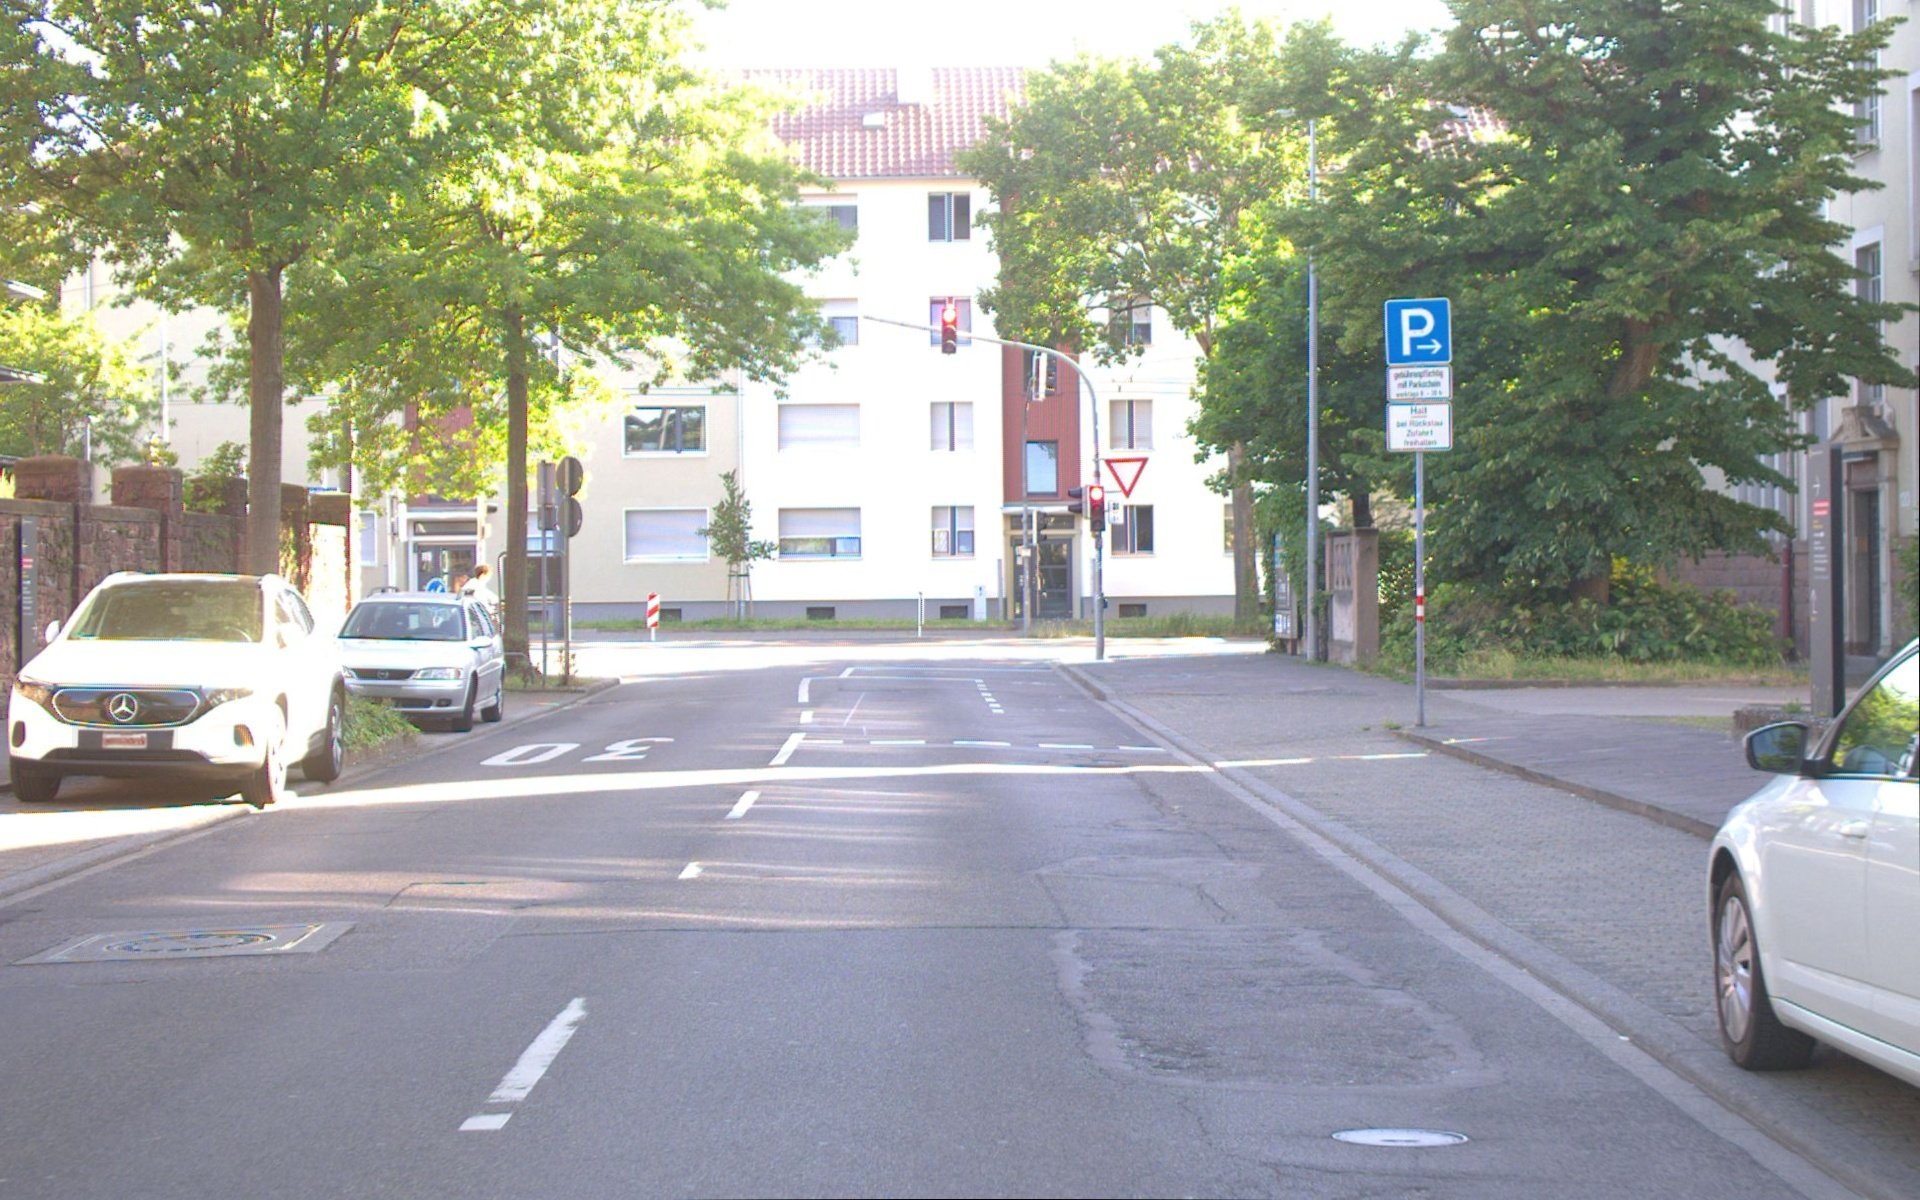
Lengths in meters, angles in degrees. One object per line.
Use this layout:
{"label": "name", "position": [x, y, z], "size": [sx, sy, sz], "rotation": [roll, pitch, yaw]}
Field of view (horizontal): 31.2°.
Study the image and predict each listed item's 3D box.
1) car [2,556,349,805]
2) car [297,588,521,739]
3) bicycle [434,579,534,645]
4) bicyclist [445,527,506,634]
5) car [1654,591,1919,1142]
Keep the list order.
{"label": "car", "position": [-5.685, 0.525, 25.414], "size": [1.720, 1.678, 4.351], "rotation": [0, 0, -2]}
{"label": "car", "position": [-5.856, 0.636, 36.996], "size": [1.726, 1.470, 4.478], "rotation": [2, 0, -1]}
{"label": "bicycle", "position": [-7.883, 0.194, 56.993], "size": [1.684, 1.076, 0.351], "rotation": [0, 1, -38]}
{"label": "bicyclist", "position": [-8.018, -0.327, 56.932], "size": [0.787, 1.751, 0.612], "rotation": [0, 0, -42]}
{"label": "car", "position": [3.230, 0.643, 8.940], "size": [1.832, 1.318, 4.496], "rotation": [-1, 0, -1]}
